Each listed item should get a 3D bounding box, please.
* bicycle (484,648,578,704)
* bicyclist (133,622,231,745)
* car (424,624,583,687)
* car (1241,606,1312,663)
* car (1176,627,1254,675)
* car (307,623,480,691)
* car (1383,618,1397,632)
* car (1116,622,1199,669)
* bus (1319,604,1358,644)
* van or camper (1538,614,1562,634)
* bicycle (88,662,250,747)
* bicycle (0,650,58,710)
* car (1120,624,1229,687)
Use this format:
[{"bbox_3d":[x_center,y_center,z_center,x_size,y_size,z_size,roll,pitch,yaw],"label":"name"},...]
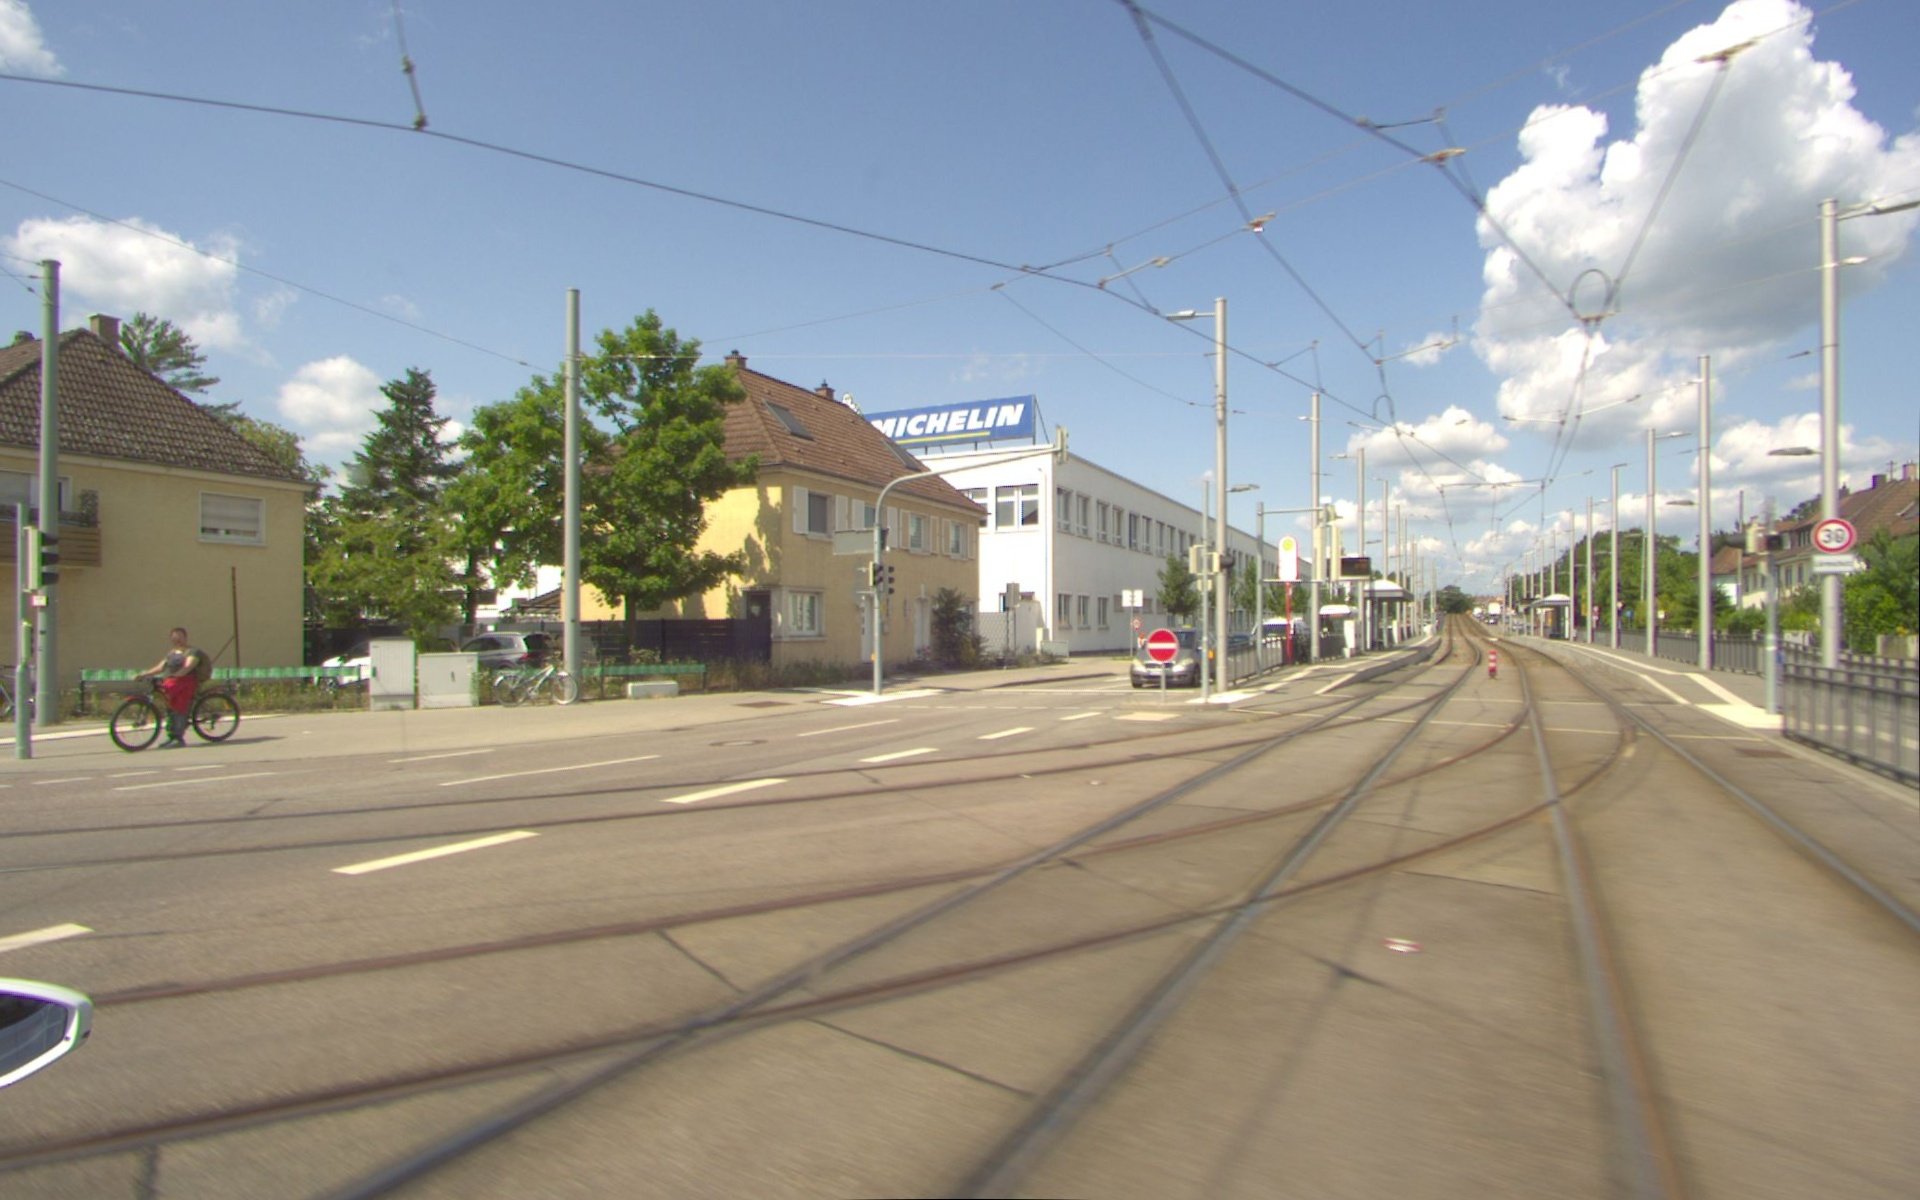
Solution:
[{"bbox_3d":[-9.080,1.592,21.255,1.777,1.119,0.701,1,-1,-19],"label":"bicycle"},{"bbox_3d":[-11.800,1.243,15.215,0.705,1.798,0.960,0,-1,6],"label":"bicyclist"},{"bbox_3d":[-12.653,1.527,27.745,3.933,1.641,1.824,-2,-2,23],"label":"car"},{"bbox_3d":[13.029,1.388,41.088,1.787,2.187,4.827,0,-1,30],"label":"car"},{"bbox_3d":[8.441,1.635,32.968,1.553,1.464,3.706,0,-1,30],"label":"car"},{"bbox_3d":[-14.439,1.454,25.552,3.933,1.641,1.824,-2,-2,23],"label":"car"},{"bbox_3d":[70.281,4.093,163.702,1.967,2.039,3.989,0,-2,25],"label":"car"},{"bbox_3d":[7.561,1.687,38.069,1.910,1.714,3.983,0,-1,30],"label":"car"},{"bbox_3d":[31.616,2.027,83.478,2.468,3.161,6.634,0,-1,26],"label":"bus"},{"bbox_3d":[100.575,4.106,170.864,2.959,3.249,7.104,0,-2,26],"label":"van or camper"},{"bbox_3d":[-11.814,1.528,15.054,0.701,1.116,2.034,0,-2,5],"label":"bicycle"},{"bbox_3d":[-18.600,1.526,19.218,2.233,1.110,0.595,0,-1,7],"label":"bicycle"},{"bbox_3d":[5.962,1.459,27.502,1.815,1.588,3.983,0,-1,30],"label":"car"}]
